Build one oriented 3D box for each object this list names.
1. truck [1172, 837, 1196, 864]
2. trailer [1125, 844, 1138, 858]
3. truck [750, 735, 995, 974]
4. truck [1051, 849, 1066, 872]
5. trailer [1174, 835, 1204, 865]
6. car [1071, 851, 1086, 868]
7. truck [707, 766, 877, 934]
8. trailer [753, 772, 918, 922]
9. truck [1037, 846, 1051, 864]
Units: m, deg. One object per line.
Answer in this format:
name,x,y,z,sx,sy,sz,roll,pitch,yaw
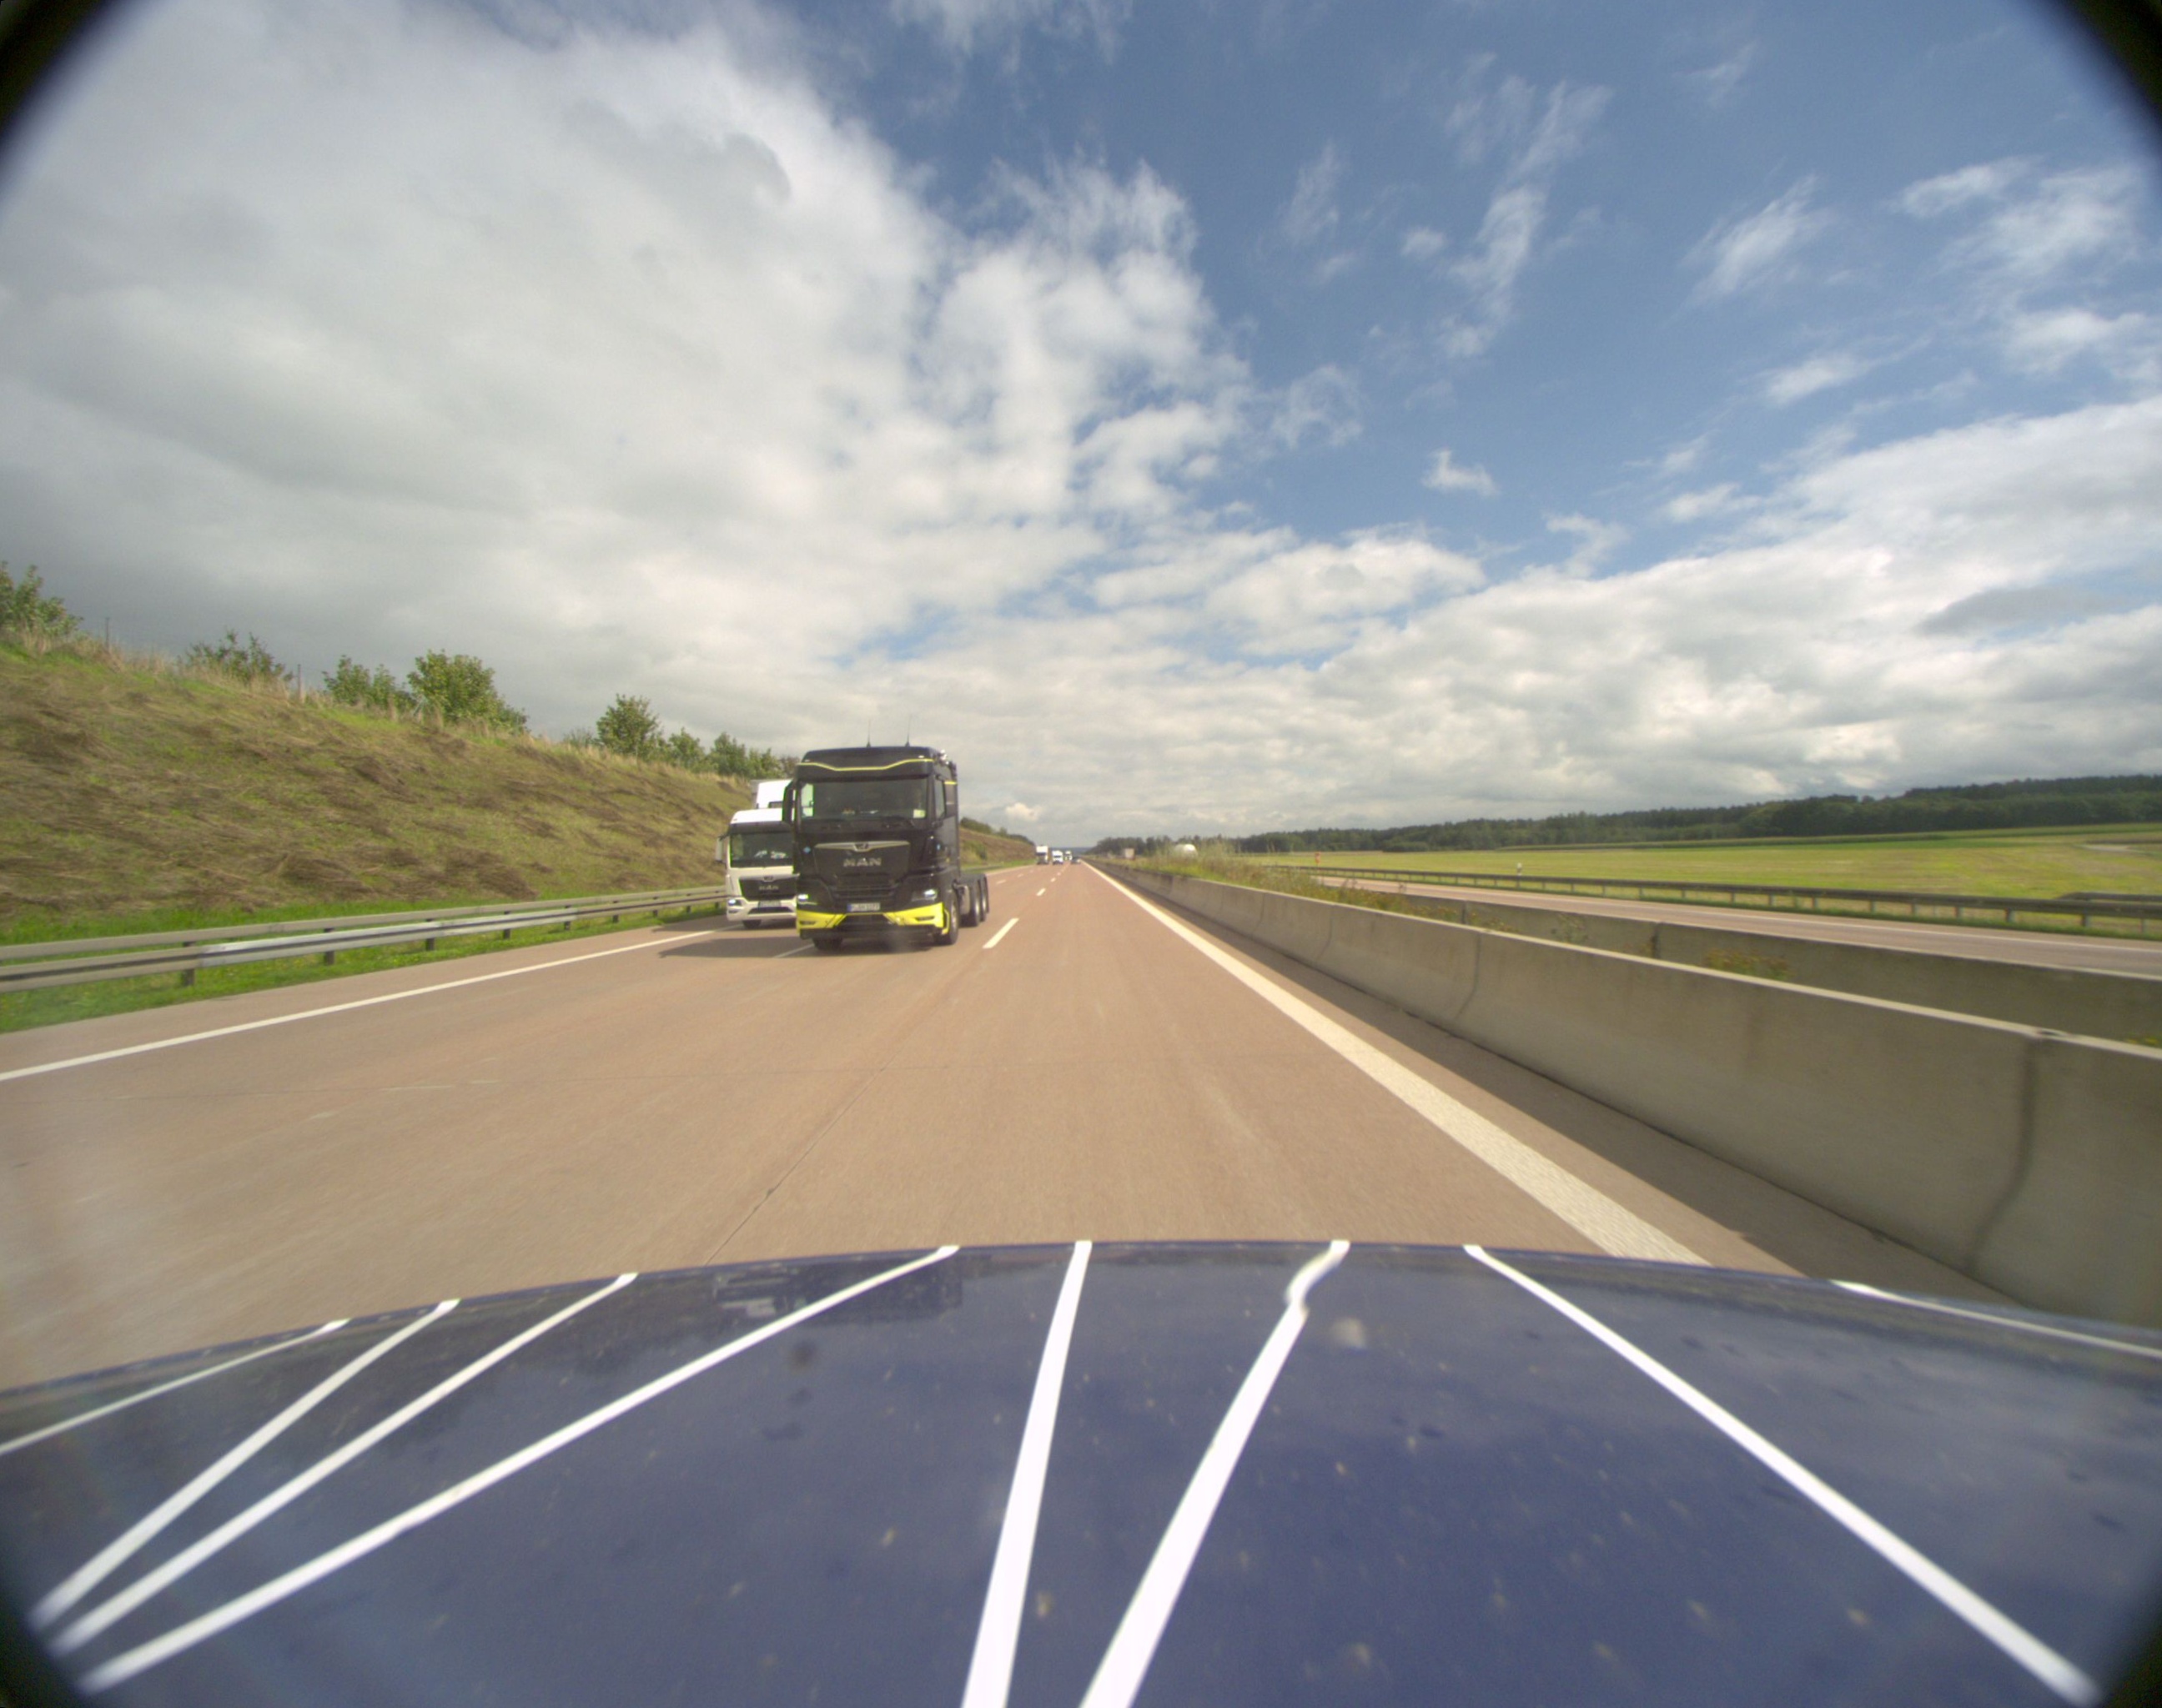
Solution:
truck,15.800,-0.547,117.158,2.899,4.075,6.335,1,0,1
trailer,15.479,-0.835,234.076,3.216,4.074,13.258,-3,0,1
truck,-3.625,-0.025,15.731,2.855,3.529,8.317,-2,1,-2
truck,-4.533,1.346,156.526,2.681,4.333,11.807,-3,0,0
trailer,15.724,-0.539,111.149,2.899,4.074,11.036,1,0,1
car,-0.544,1.089,157.002,2.773,3.260,6.392,-3,0,0
truck,-7.470,-0.114,20.318,2.756,3.869,4.544,-2,1,-2
trailer,-7.660,-0.225,25.180,2.755,3.989,8.668,-2,1,-2
truck,-8.459,0.208,174.268,2.681,4.082,6.615,-2,0,0
